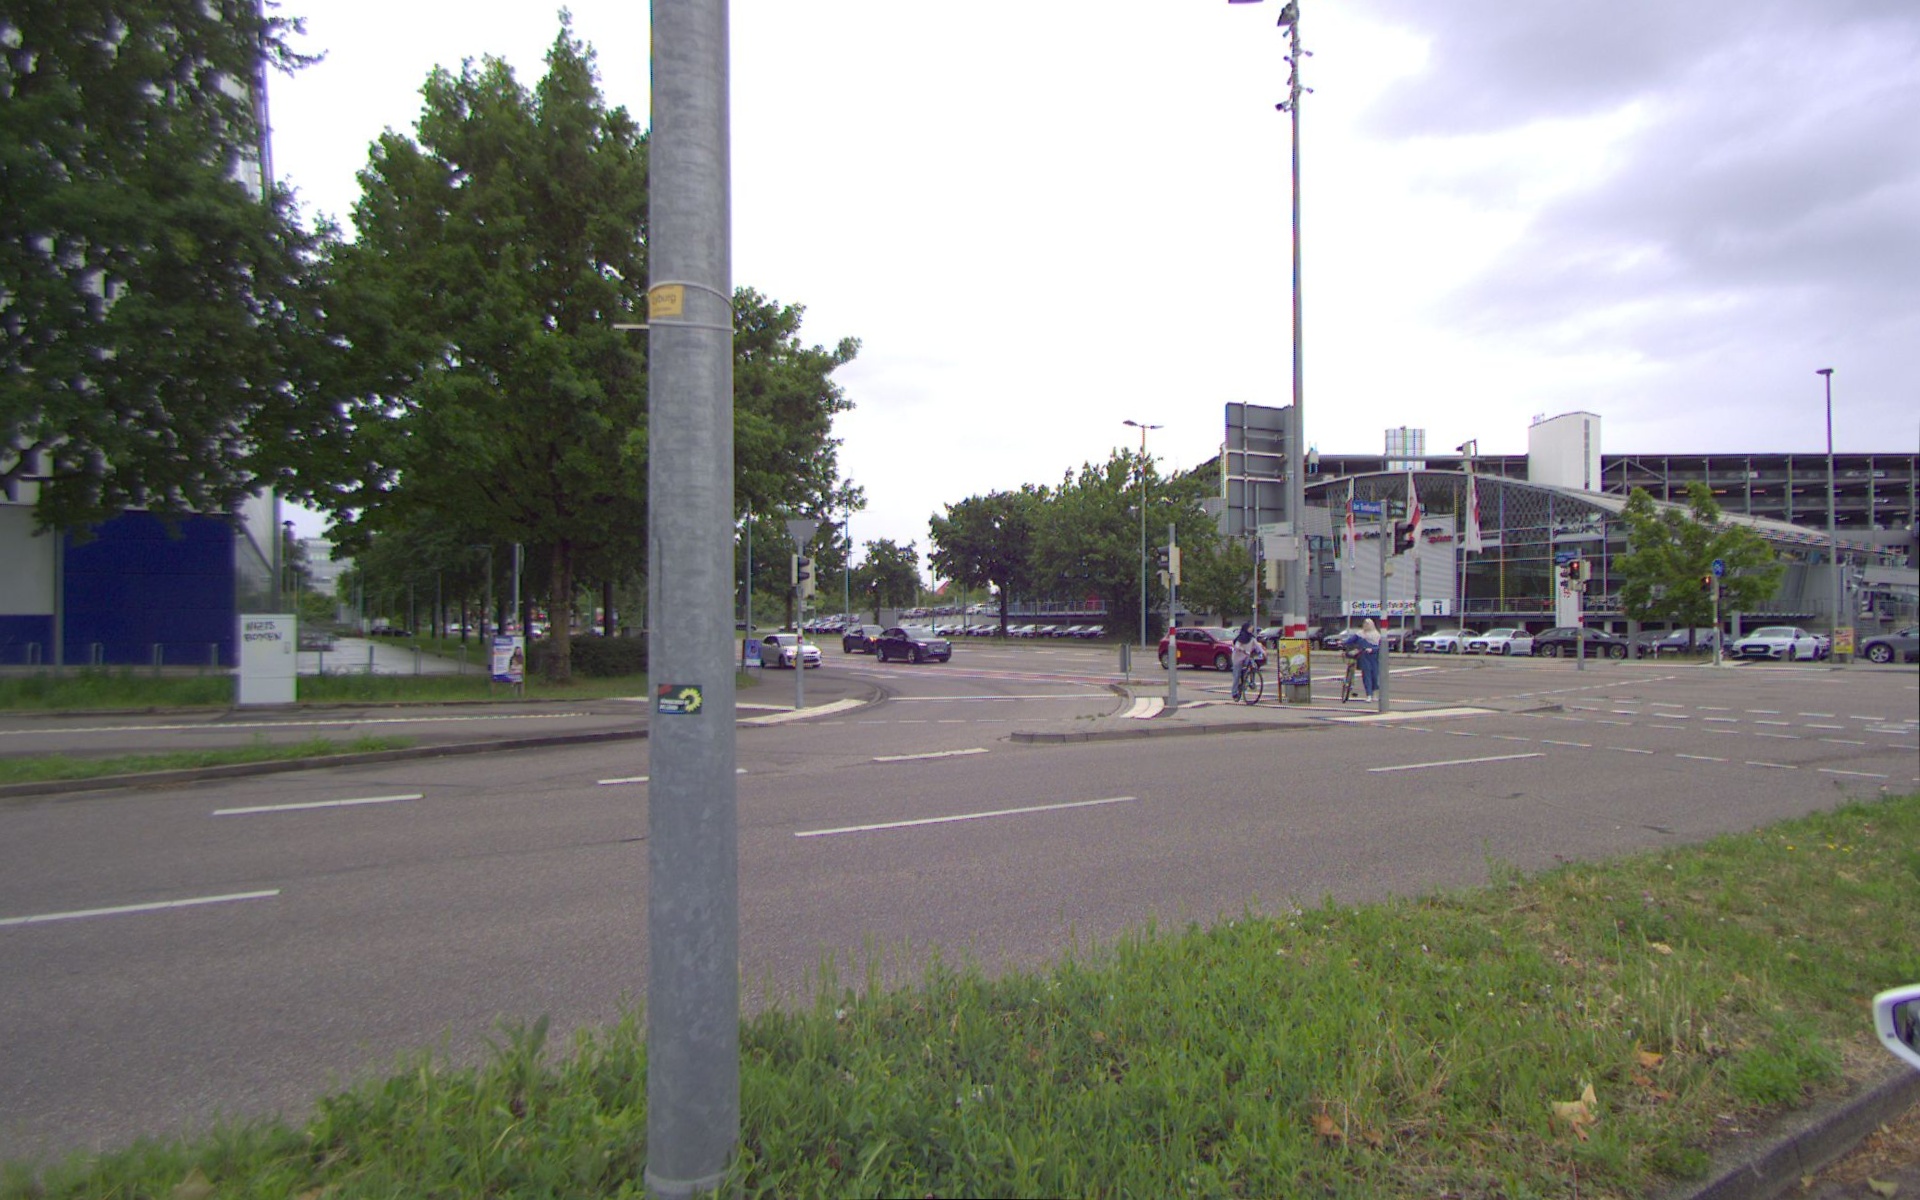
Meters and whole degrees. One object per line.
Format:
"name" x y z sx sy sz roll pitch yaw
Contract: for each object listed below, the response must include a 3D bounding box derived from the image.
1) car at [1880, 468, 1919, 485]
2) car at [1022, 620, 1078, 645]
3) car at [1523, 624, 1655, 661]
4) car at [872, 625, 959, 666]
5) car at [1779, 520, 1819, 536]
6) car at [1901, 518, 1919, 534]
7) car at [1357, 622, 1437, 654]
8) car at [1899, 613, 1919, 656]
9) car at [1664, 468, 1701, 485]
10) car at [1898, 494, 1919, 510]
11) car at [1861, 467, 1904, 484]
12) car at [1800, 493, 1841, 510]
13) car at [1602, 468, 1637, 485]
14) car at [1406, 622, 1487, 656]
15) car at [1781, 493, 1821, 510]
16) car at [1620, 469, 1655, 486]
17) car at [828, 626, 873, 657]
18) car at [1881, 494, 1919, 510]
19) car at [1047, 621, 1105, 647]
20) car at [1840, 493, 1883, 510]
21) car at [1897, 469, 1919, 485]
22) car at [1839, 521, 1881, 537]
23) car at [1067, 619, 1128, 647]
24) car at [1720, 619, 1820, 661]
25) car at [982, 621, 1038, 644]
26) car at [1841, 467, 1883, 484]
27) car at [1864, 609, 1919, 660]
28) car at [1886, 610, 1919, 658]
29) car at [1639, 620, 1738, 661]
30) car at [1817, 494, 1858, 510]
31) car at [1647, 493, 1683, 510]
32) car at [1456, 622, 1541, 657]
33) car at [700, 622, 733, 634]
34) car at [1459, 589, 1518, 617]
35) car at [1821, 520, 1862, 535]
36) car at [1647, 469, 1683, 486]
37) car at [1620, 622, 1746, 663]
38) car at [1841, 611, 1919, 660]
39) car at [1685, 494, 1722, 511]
"car" 122.092 -16.001 130.308 1.960 1.689 4.001 1 0 2
"car" 7.042 2.561 78.626 4.037 1.505 1.801 7 -3 -34
"car" 28.371 1.891 45.457 1.873 1.505 4.713 4 -4 -32
"car" -2.048 2.007 45.147 1.867 1.659 4.292 -3 0 -35
"car" 108.810 -9.300 130.267 1.960 1.689 4.001 1 0 2
"car" 126.672 -9.765 131.293 2.167 1.971 5.331 1 0 -1
"car" 22.982 2.015 52.801 4.188 1.505 1.855 4 -3 -33
"car" 44.291 1.458 43.564 2.034 1.900 4.914 2 -4 -35
"car" 94.047 -16.072 130.795 1.960 1.689 4.001 1 0 2
"car" 124.131 -12.706 129.855 1.960 1.689 4.001 1 0 2
"car" 119.333 -16.105 129.944 1.960 1.689 4.001 1 0 2
"car" 111.414 -12.731 130.121 1.960 1.689 4.001 1 0 2
"car" 86.109 -16.095 131.210 1.960 1.689 4.001 1 0 2
"car" 24.483 1.958 50.506 4.002 1.505 1.860 4 -3 -33
"car" 108.912 -12.751 130.167 1.960 1.689 4.001 1 0 2
"car" 88.503 -16.021 131.318 1.960 1.689 4.001 1 0 2
"car" -6.127 2.269 55.977 1.854 1.565 4.586 -2 -1 -14
"car" 121.910 -12.689 129.869 1.960 1.689 4.001 1 0 2
"car" 8.826 2.567 76.438 4.181 1.504 1.808 8 -4 -34
"car" 116.531 -12.740 129.888 1.960 1.689 4.001 1 0 2
"car" 124.336 -15.988 130.285 1.960 1.689 4.001 1 0 2
"car" 116.765 -9.217 130.332 1.960 1.689 4.001 1 0 2
"car" 10.196 2.442 74.158 4.210 1.622 1.858 8 -4 -34
"car" 32.002 1.598 39.656 4.184 1.505 1.858 3 -3 -33
"car" 4.125 2.709 82.829 4.153 1.505 1.959 7 -3 -33
"car" 116.713 -16.101 129.987 1.960 1.689 4.001 1 0 2
"car" 39.710 1.377 40.343 1.979 2.040 4.674 2 -4 -34
"car" 42.258 1.400 41.874 2.243 2.040 4.993 2 -4 -34
"car" 30.487 1.741 42.010 4.473 1.505 2.050 4 -5 -35
"car" 113.560 -12.694 130.019 1.960 1.689 4.001 1 0 2
"car" 91.551 -12.778 130.571 1.960 1.689 4.001 1 0 2
"car" 26.009 1.898 48.444 4.154 1.505 1.836 4 -3 -33
"car" -32.147 3.669 132.741 3.949 1.455 1.718 2 0 -27
"car" 34.711 0.198 65.993 3.960 1.684 1.807 2 0 -35
"car" 114.155 -9.373 130.093 1.960 1.689 4.001 1 0 2
"car" 91.680 -15.928 130.624 1.960 1.689 4.001 1 0 2
"car" 36.260 2.080 50.523 1.978 1.965 4.776 1 -2 -32
"car" 37.573 1.385 38.959 1.979 1.887 4.744 2 -4 -34
"car" 96.439 -12.632 130.269 1.960 1.689 4.001 1 0 2
